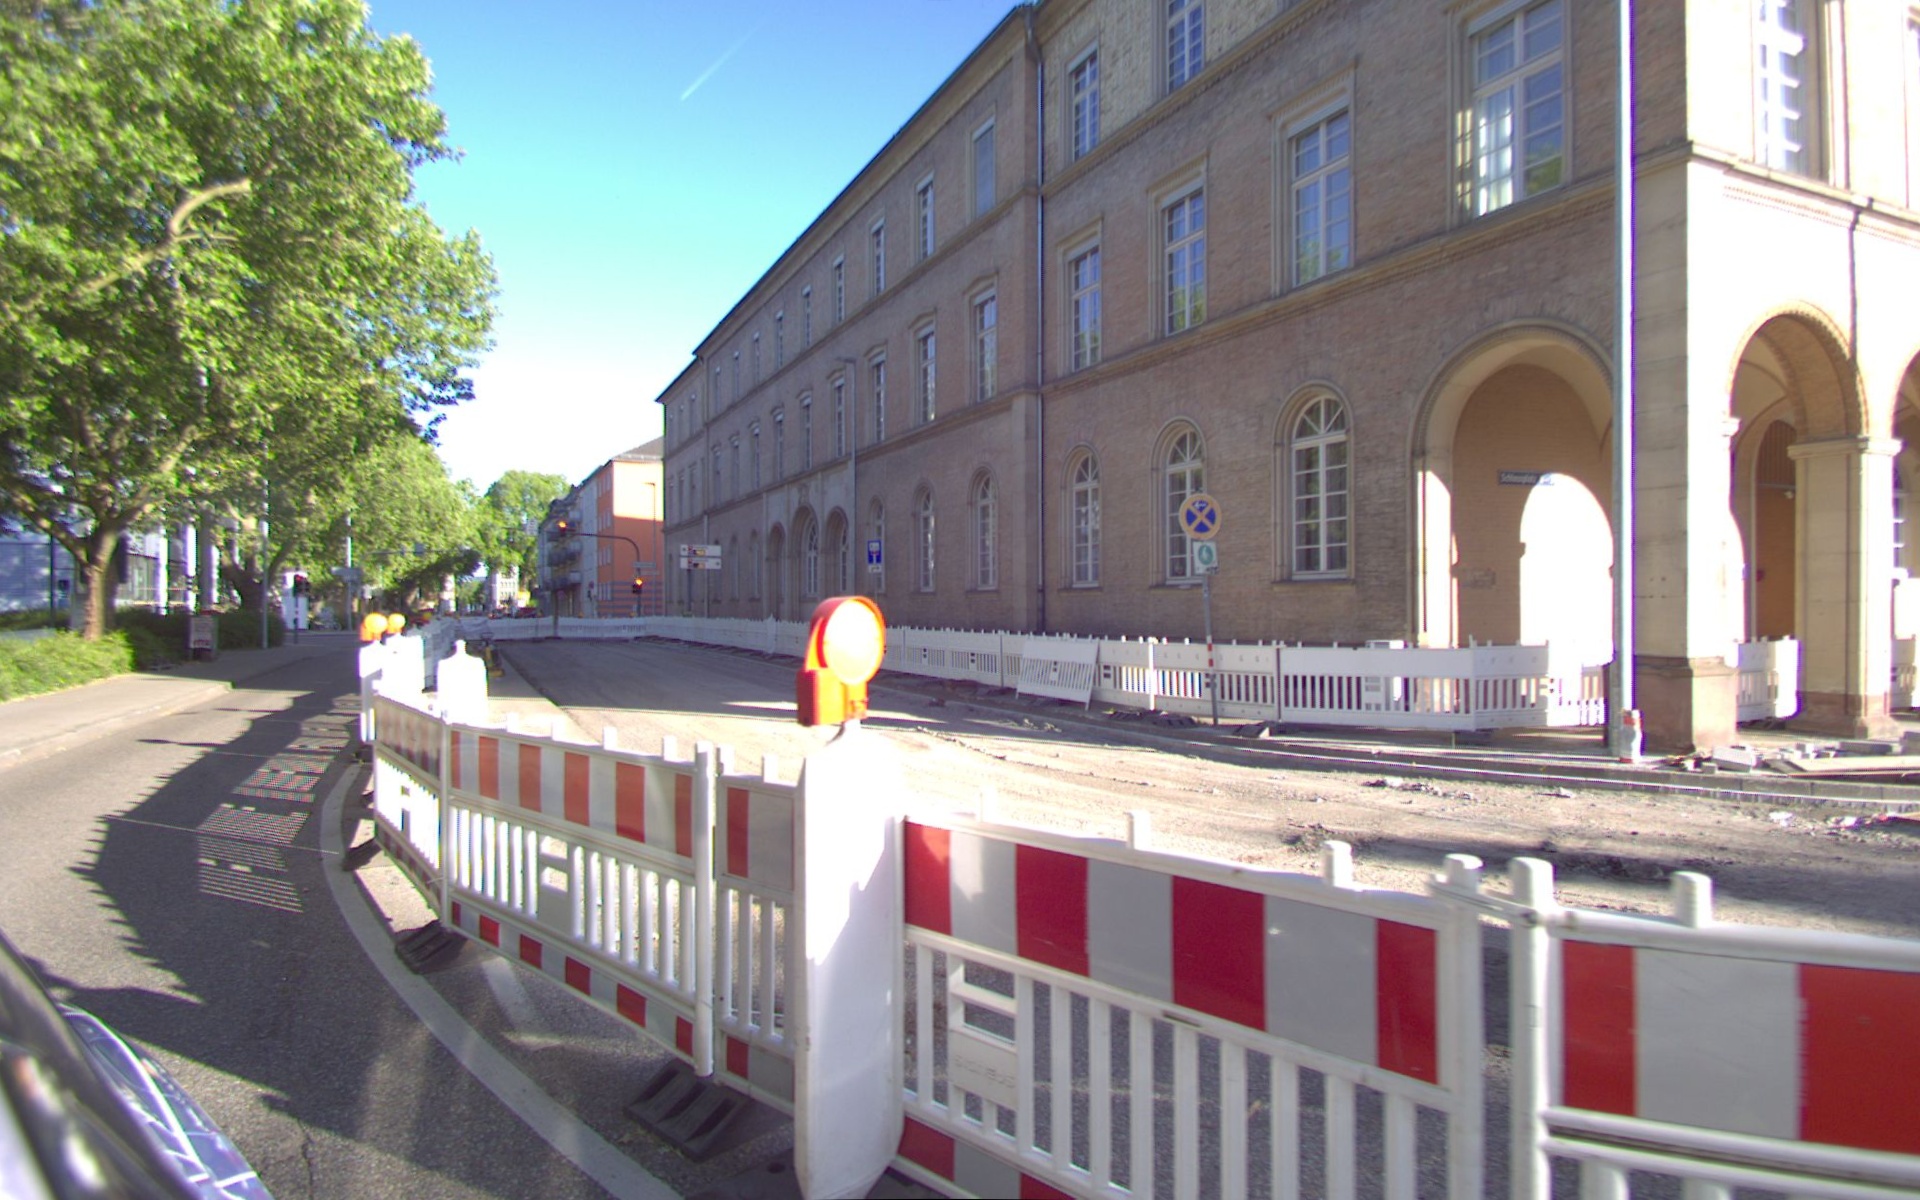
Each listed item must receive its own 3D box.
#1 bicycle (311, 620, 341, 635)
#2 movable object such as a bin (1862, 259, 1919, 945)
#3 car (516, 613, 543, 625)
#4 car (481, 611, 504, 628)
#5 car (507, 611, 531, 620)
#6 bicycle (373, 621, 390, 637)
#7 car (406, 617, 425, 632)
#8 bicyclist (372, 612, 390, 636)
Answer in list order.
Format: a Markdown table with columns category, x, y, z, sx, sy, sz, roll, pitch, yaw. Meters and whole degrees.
| category | x | y | z | sx | sy | sz | roll | pitch | yaw |
| --- | --- | --- | --- | --- | --- | --- | --- | --- | --- |
| bicycle | -43.293 | 1.894 | 69.107 | 0.621 | 1.006 | 1.615 | 2 | -1 | 38 |
| movable object such as a bin | 6.831 | -0.007 | 2.786 | 5.881 | 3.054 | 2.552 | 0 | -1 | 17 |
| car | -67.346 | 2.980 | 158.330 | 3.930 | 1.712 | 1.839 | 0 | -1 | -25 |
| car | -58.025 | 2.353 | 125.672 | 1.966 | 1.830 | 5.140 | -2 | 2 | -32 |
| car | -78.837 | 2.794 | 180.916 | 3.930 | 1.712 | 1.839 | 0 | -1 | -25 |
| bicycle | -41.526 | 2.076 | 72.633 | 0.692 | 1.075 | 1.934 | 0 | -2 | -19 |
| car | -59.195 | 2.635 | 110.039 | 1.757 | 1.541 | 4.672 | 0 | -1 | -28 |
| bicyclist | -41.477 | 1.699 | 72.499 | 0.934 | 1.652 | 1.011 | -1 | 0 | -19 |
